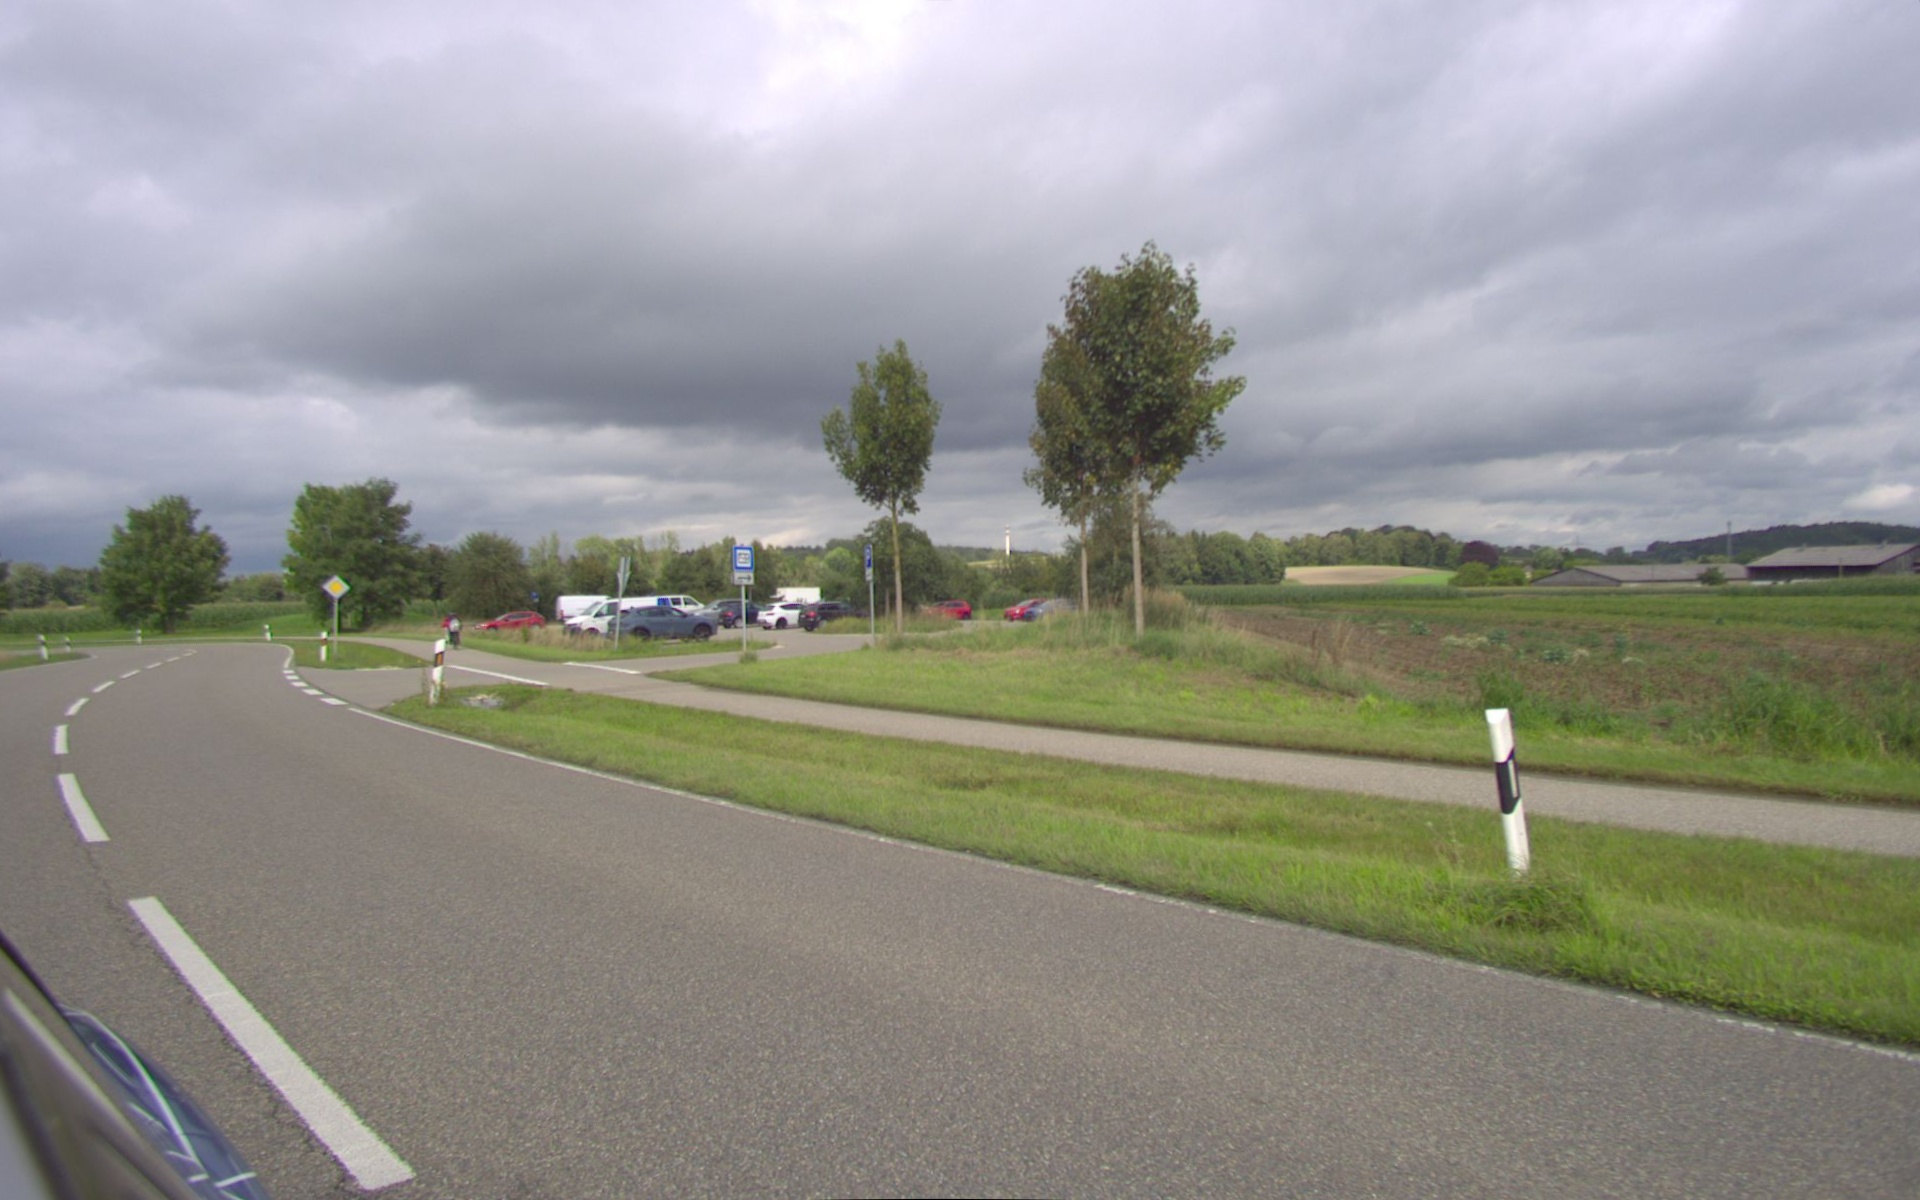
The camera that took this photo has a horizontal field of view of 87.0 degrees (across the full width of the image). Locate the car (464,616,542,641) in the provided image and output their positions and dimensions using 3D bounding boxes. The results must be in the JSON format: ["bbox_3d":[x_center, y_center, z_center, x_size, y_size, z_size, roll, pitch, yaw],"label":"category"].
[{"bbox_3d":[-29.624,1.840,65.600,4.306,1.427,1.818,-2,0,-35],"label":"car"}]

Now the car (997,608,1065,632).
[{"bbox_3d":[4.517,1.263,64.318,3.931,1.398,1.744,-1,-1,-21],"label":"car"}]

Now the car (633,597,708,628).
[{"bbox_3d":[-20.502,0.884,71.695,4.620,1.940,2.066,-3,1,-37],"label":"car"}]

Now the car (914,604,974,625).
[{"bbox_3d":[-1.148,1.051,73.076,3.933,1.398,1.743,-1,-1,-33],"label":"car"}]

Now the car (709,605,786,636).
[{"bbox_3d":[-12.421,1.176,59.196,3.934,1.563,1.970,-3,1,-35],"label":"car"}]

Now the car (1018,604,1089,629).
[{"bbox_3d":[5.708,0.997,62.076,3.931,1.398,1.744,-1,-1,-21],"label":"car"}]

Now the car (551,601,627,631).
[{"bbox_3d":[-34.546,1.470,94.339,6.231,2.639,2.206,-2,0,-35],"label":"car"}]

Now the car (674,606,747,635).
[{"bbox_3d":[-15.546,1.249,63.211,3.934,1.563,1.970,-3,1,-35],"label":"car"}]

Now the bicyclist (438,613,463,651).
[{"bbox_3d":[-21.747,1.342,43.189,0.819,1.577,1.058,-1,0,-31],"label":"bicyclist"}]

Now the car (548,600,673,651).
[{"bbox_3d":[-15.527,1.100,45.046,4.829,2.029,2.061,-2,0,-36],"label":"car"}]

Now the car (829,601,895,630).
[{"bbox_3d":[-5.667,0.908,58.804,3.737,1.537,1.778,-2,0,-4],"label":"car"}]

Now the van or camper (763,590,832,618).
[{"bbox_3d":[-15.518,0.381,96.791,5.948,2.364,2.292,-3,1,-33],"label":"van or camper"}]

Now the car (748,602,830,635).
[{"bbox_3d":[-9.311,1.006,55.188,3.939,1.563,1.968,-3,1,-42],"label":"car"}]

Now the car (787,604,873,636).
[{"bbox_3d":[-6.531,0.989,51.130,3.939,1.398,1.844,-3,1,-42],"label":"car"}]

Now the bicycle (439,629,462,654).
[{"bbox_3d":[-21.733,1.755,43.123,0.627,1.040,2.197,-1,0,-33],"label":"bicycle"}]

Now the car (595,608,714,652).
[{"bbox_3d":[-12.400,1.183,41.155,4.191,1.607,2.005,-2,0,-35],"label":"car"}]
